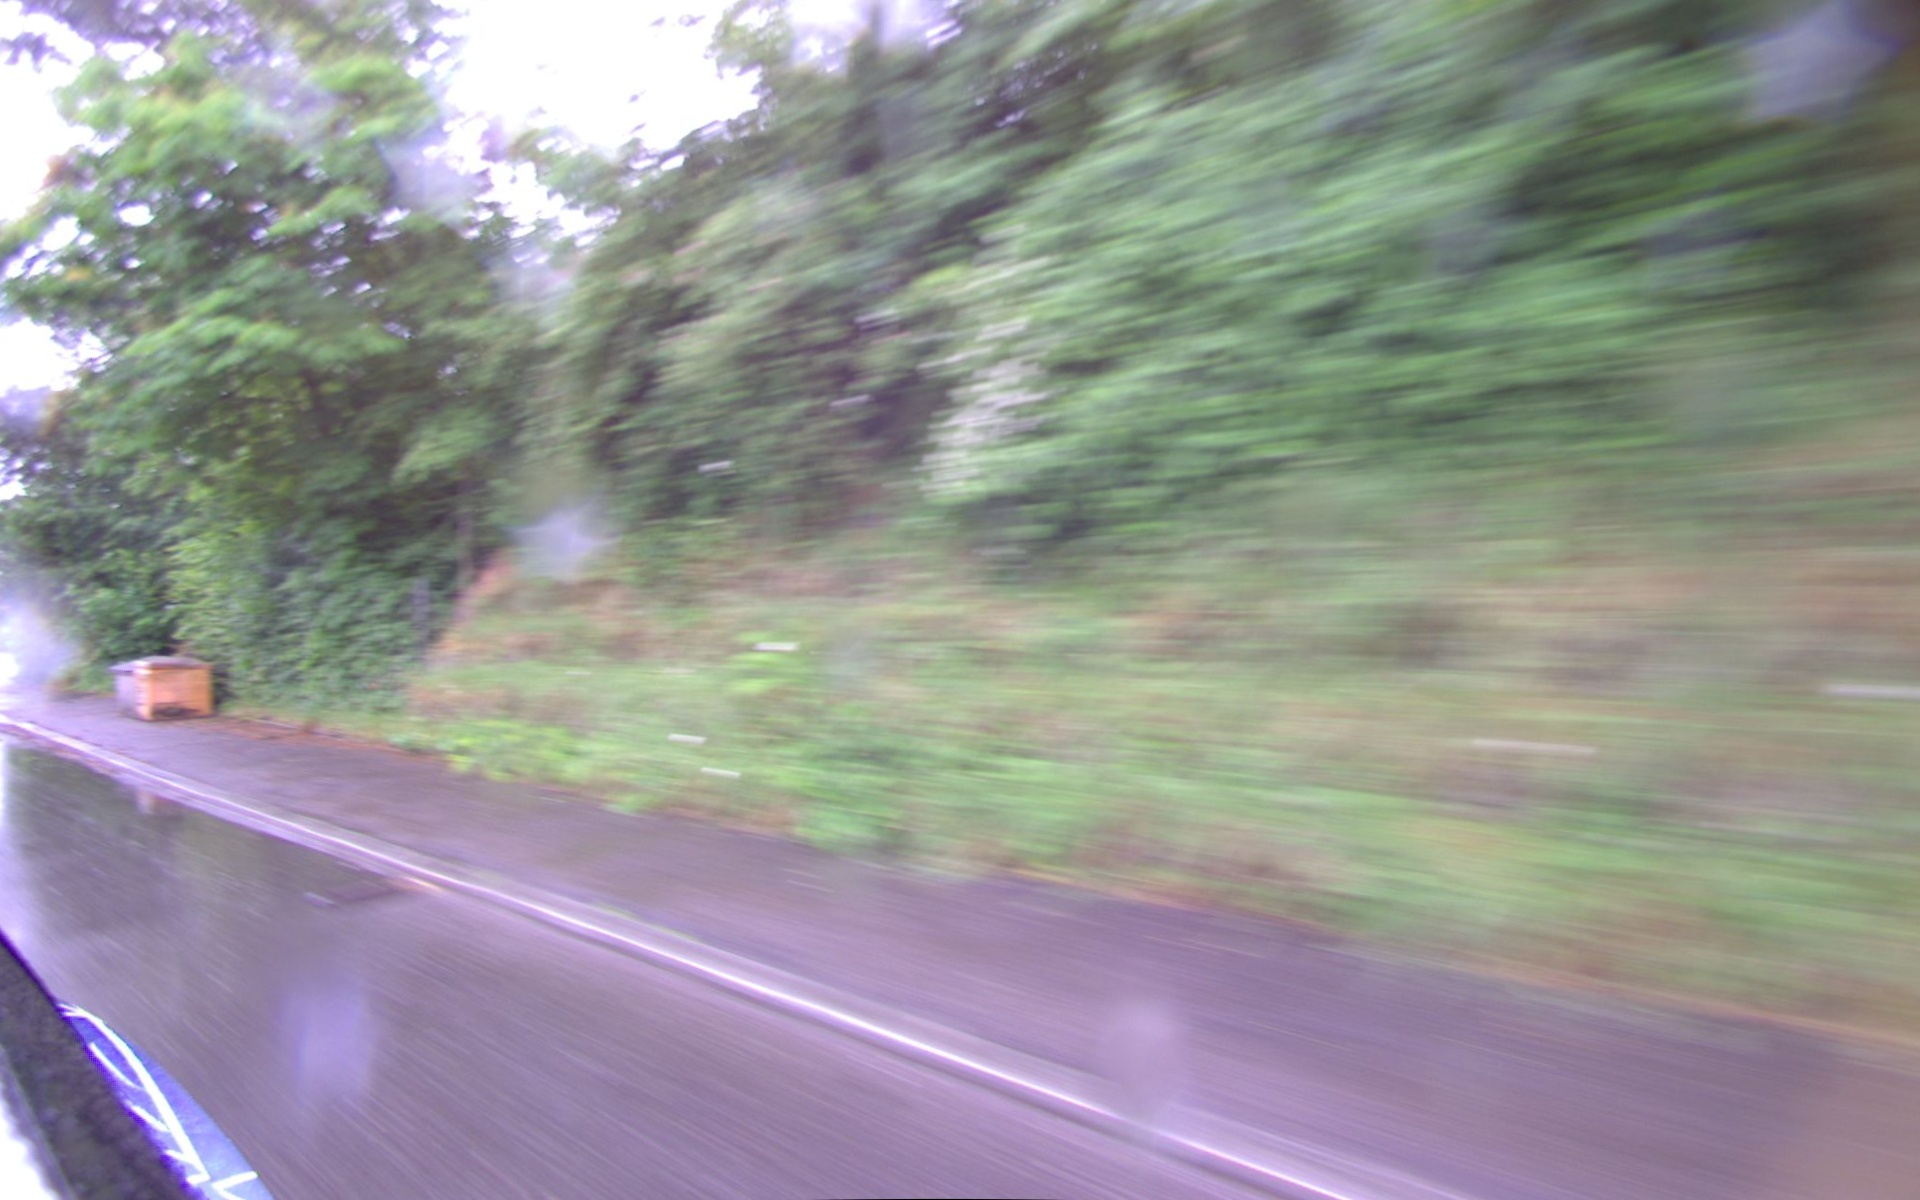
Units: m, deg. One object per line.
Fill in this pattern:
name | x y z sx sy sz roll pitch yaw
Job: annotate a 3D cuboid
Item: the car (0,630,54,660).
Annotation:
car | -50.860 2.412 54.290 1.770 1.480 4.229 -2 0 -18
